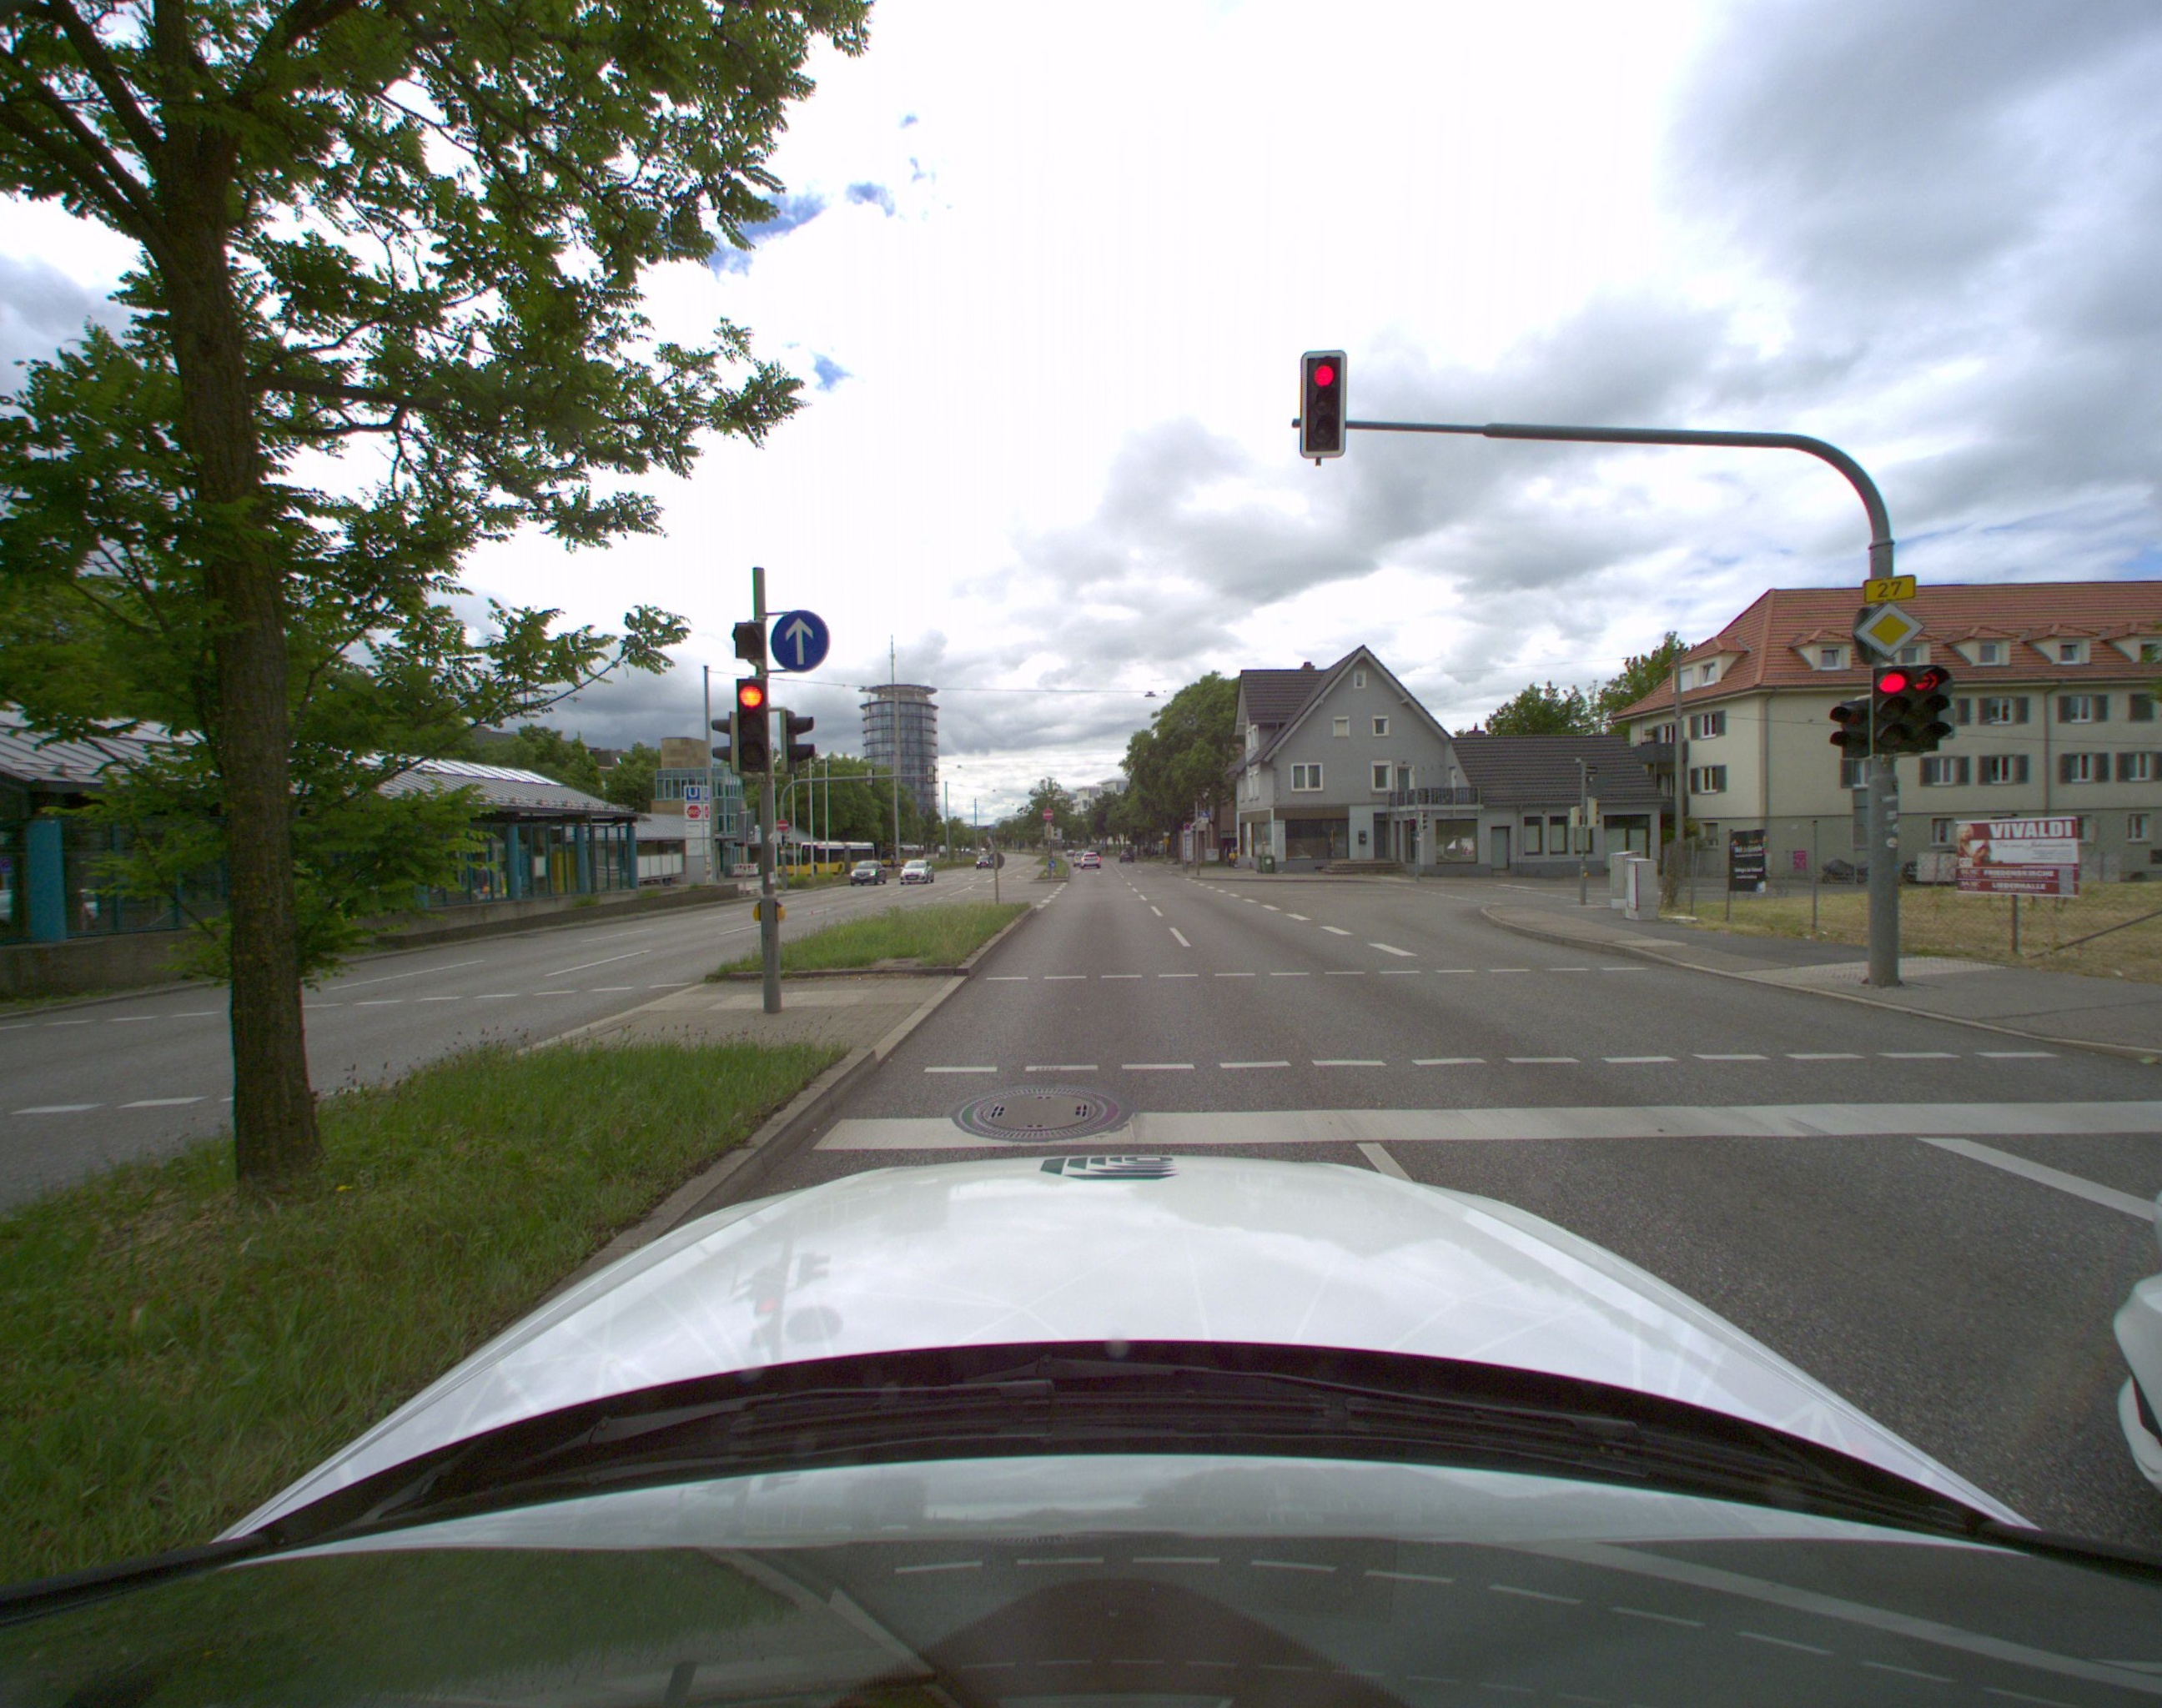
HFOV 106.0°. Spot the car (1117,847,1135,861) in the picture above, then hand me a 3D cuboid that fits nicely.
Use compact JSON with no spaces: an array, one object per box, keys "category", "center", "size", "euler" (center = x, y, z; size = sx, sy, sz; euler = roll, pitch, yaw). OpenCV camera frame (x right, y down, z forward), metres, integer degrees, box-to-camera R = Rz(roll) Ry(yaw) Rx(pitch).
[{"category":"car","center":[5.348,0.032,97.450],"size":[1.883,1.494,4.097],"euler":[-3,-1,0]}]

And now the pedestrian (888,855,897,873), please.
[{"category":"pedestrian","center":[-20.578,1.074,88.964],"size":[0.666,1.897,0.678],"euler":[-2,0,-36]}]

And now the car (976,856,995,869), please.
[{"category":"car","center":[-10.973,0.957,93.579],"size":[1.696,1.492,3.562],"euler":[-2,0,1]}]

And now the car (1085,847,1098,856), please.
[{"category":"car","center":[2.099,-0.465,165.284],"size":[2.246,1.757,4.928],"euler":[-2,0,-3]}]

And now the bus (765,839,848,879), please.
[{"category":"bus","center":[-24.326,0.409,72.869],"size":[2.975,3.250,10.186],"euler":[-2,0,6]}]

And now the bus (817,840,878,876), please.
[{"category":"bus","center":[-23.354,0.376,81.868],"size":[2.975,3.270,7.889],"euler":[-2,0,6]}]

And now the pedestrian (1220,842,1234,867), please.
[{"category":"pedestrian","center":[10.803,0.050,60.194],"size":[0.698,1.780,0.876],"euler":[-2,0,31]}]

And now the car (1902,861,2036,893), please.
[{"category":"car","center":[39.808,1.022,36.576],"size":[3.972,1.377,1.871],"euler":[0,0,2]}]

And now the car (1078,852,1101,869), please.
[{"category":"car","center":[0.844,0.556,76.156],"size":[1.986,1.477,4.258],"euler":[-2,0,2]}]

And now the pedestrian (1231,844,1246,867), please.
[{"category":"pedestrian","center":[12.012,0.115,62.276],"size":[0.868,1.780,0.704],"euler":[-2,0,-12]}]

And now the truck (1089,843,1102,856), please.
[{"category":"truck","center":[2.756,-0.809,156.671],"size":[2.246,2.416,4.928],"euler":[-1,0,-3]}]

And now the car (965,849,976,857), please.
[{"category":"car","center":[-27.256,-0.161,201.218],"size":[1.958,2.014,4.001],"euler":[0,-1,2]}]

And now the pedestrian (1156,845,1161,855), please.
[{"category":"pedestrian","center":[12.748,-0.680,133.665],"size":[0.649,1.570,0.669],"euler":[-2,0,-6]}]

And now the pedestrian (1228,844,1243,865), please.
[{"category":"pedestrian","center":[11.286,0.015,59.540],"size":[0.698,1.507,0.876],"euler":[-2,-1,34]}]

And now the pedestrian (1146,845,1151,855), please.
[{"category":"pedestrian","center":[11.155,-0.610,133.892],"size":[0.649,1.570,0.669],"euler":[-2,0,-6]}]

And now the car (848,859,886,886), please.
[{"category":"car","center":[-13.496,1.151,51.533],"size":[1.681,1.578,3.344],"euler":[-2,0,-4]}]

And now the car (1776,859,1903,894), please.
[{"category":"car","center":[34.038,0.985,36.614],"size":[3.972,1.537,1.871],"euler":[0,0,2]}]

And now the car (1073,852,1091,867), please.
[{"category":"car","center":[0.111,0.582,87.460],"size":[1.817,1.540,4.112],"euler":[-2,0,-1]}]

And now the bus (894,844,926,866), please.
[{"category":"bus","center":[-26.037,0.131,124.328],"size":[3.134,3.225,7.765],"euler":[-2,0,0]}]

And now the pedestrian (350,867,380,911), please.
[{"category":"pedestrian","center":[-27.692,1.327,31.496],"size":[0.520,1.655,0.709],"euler":[-1,0,-5]}]

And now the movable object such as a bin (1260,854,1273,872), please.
[{"category":"movable object such as a bin","center":[10.028,0.478,43.956],"size":[0.527,0.979,0.737],"euler":[-2,0,2]}]

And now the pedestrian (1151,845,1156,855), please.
[{"category":"pedestrian","center":[11.881,-0.640,133.875],"size":[0.649,1.570,0.669],"euler":[-2,0,-6]}]

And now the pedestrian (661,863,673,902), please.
[{"category":"pedestrian","center":[-17.281,1.174,34.001],"size":[0.420,1.591,0.353],"euler":[-2,0,-28]}]

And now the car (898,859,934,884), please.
[{"category":"car","center":[-10.343,1.059,51.322],"size":[1.680,1.462,3.552],"euler":[-2,0,-3]}]

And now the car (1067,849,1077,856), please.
[{"category":"car","center":[-1.908,-0.346,173.472],"size":[1.963,1.420,4.017],"euler":[-2,0,-3]}]

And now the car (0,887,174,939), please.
[{"category":"car","center":[-28.323,1.616,22.628],"size":[1.818,1.168,3.997],"euler":[-2,0,-2]}]

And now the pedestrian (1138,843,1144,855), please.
[{"category":"pedestrian","center":[10.306,-0.865,140.152],"size":[0.967,2.014,0.981],"euler":[0,-1,1]}]

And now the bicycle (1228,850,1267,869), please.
[{"category":"bicycle","center":[11.587,0.371,56.599],"size":[2.407,1.217,1.084],"euler":[-2,0,35]}]

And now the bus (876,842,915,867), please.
[{"category":"bus","center":[-26.095,0.105,115.318],"size":[3.135,3.225,10.282],"euler":[-2,0,0]}]

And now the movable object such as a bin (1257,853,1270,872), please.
[{"category":"movable object such as a bin","center":[10.034,0.462,44.747],"size":[0.527,0.979,0.737],"euler":[-2,0,2]}]
